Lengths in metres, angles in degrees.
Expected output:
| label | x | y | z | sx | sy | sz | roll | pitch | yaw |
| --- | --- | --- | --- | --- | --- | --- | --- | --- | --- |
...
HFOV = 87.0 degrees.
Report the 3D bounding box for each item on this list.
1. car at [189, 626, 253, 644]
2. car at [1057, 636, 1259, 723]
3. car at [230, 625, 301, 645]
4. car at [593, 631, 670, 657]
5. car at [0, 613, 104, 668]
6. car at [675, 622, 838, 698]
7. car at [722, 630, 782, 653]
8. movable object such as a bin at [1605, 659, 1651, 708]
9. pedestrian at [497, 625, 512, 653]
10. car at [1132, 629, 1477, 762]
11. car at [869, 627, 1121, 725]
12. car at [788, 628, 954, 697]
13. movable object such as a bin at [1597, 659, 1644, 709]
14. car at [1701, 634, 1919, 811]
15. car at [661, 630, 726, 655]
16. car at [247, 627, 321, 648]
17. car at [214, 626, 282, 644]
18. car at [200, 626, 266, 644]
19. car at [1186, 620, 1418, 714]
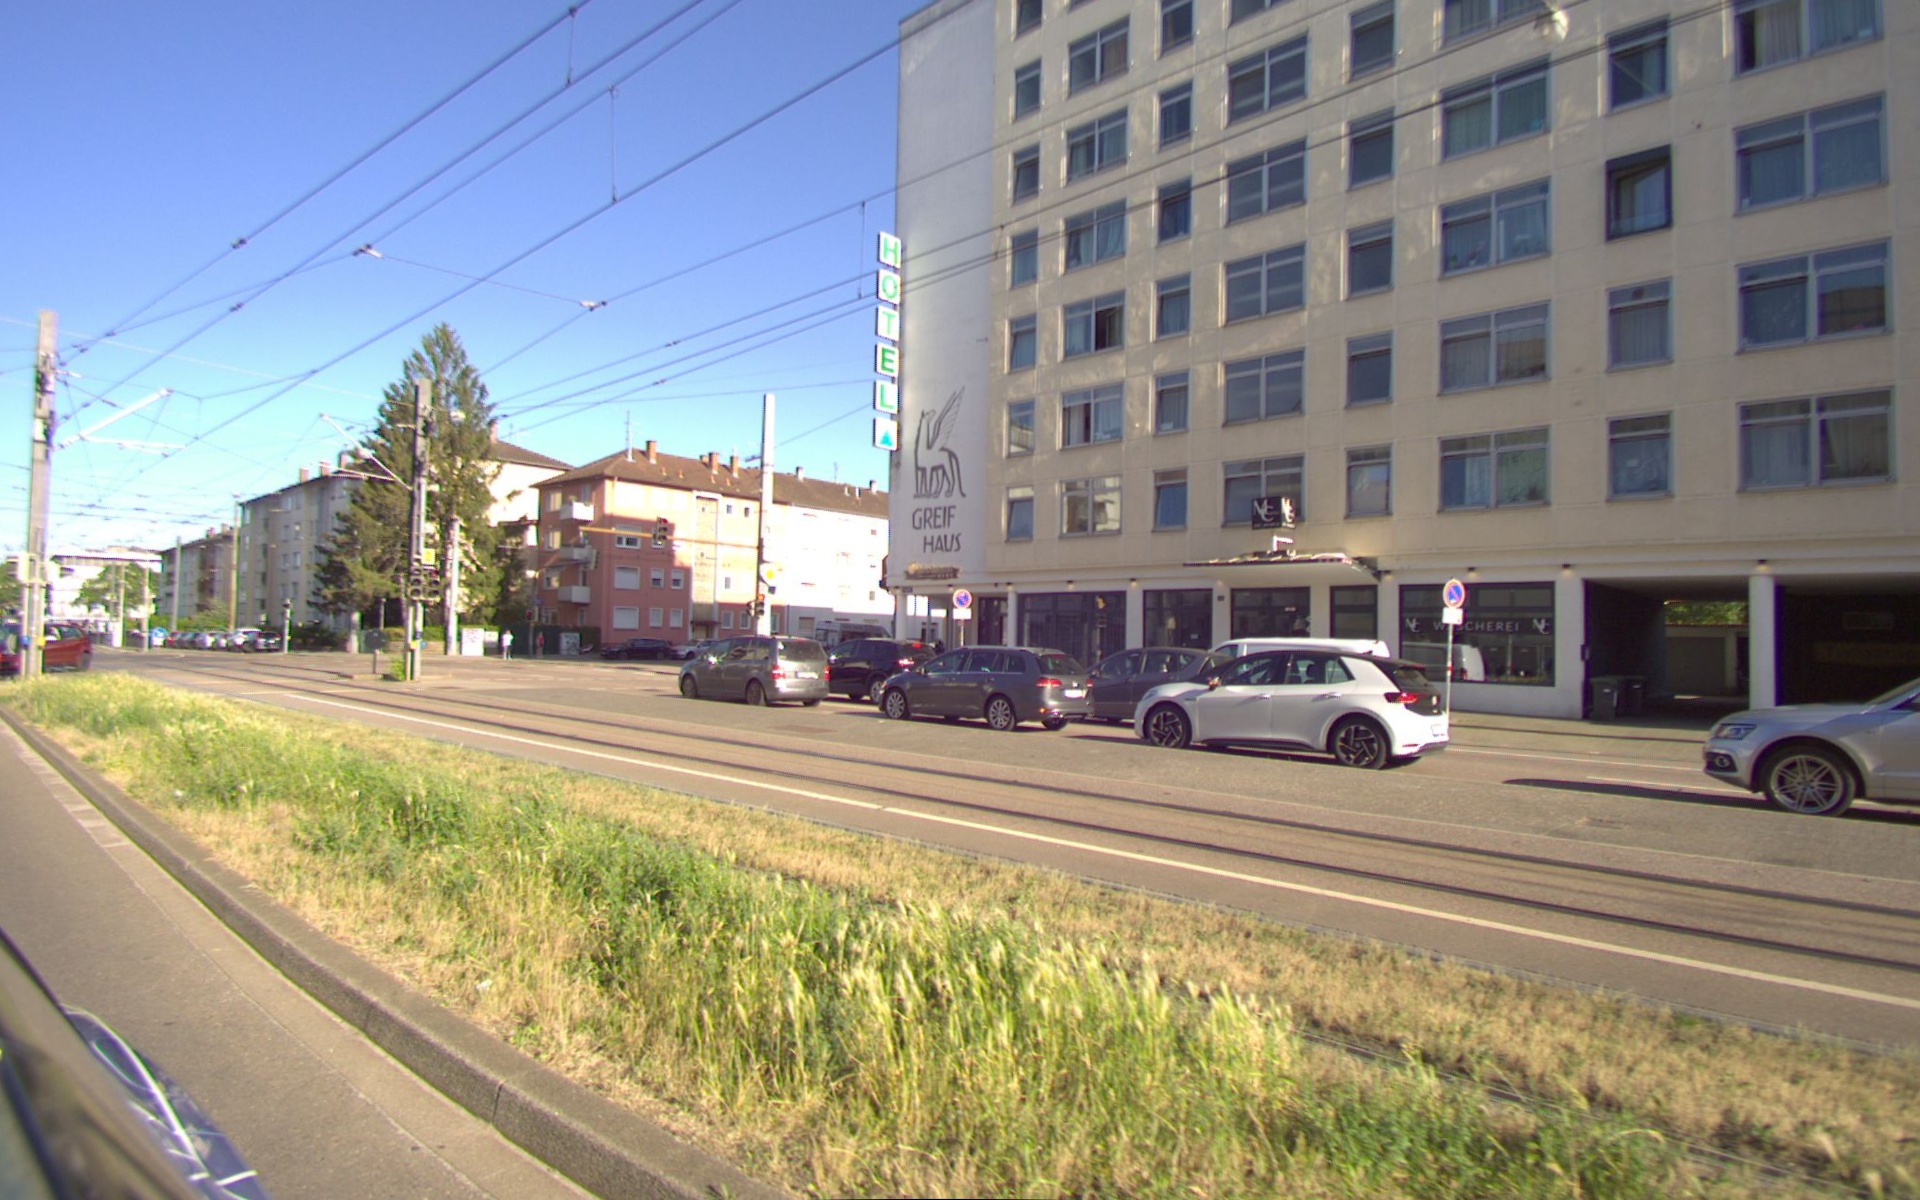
| label | x | y | z | sx | sy | sz | roll | pitch | yaw |
| --- | --- | --- | --- | --- | --- | --- | --- | --- | --- |
| car | -60.870 | 2.895 | 83.377 | 1.738 | 1.342 | 3.944 | -1 | -3 | 42 |
| car | 3.823 | 1.510 | 19.798 | 3.570 | 1.512 | 1.551 | -1 | -5 | 41 |
| car | -50.606 | 2.560 | 73.814 | 1.738 | 1.342 | 3.944 | -1 | -3 | 42 |
| car | -20.965 | 2.758 | 64.708 | 1.860 | 1.453 | 4.402 | -1 | 0 | 42 |
| car | -26.899 | 1.144 | 29.082 | 1.833 | 1.481 | 3.817 | 2 | -3 | -11 |
| car | -4.741 | 1.350 | 23.298 | 4.000 | 1.571 | 1.596 | -1 | -5 | 43 |
| car | -14.785 | 2.914 | 72.031 | 1.787 | 1.453 | 3.846 | -1 | 0 | 42 |
| movable object such as a bin | 15.141 | 1.887 | 22.947 | 0.775 | 1.059 | 0.538 | -1 | -4 | 45 |
| pedestrian | -26.385 | 2.257 | 58.656 | 0.510 | 1.618 | 0.607 | -1 | 0 | 41 |
| car | 4.762 | 1.262 | 14.307 | 4.238 | 1.562 | 1.837 | -1 | -5 | 41 |
| car | 0.563 | 1.351 | 18.717 | 4.364 | 1.562 | 1.973 | -1 | -5 | 41 |
| car | -2.304 | 1.538 | 25.621 | 3.998 | 1.571 | 1.973 | -1 | -3 | 41 |
| movable object such as a bin | 14.733 | 1.862 | 22.569 | 0.775 | 1.059 | 0.538 | -1 | -4 | 45 |
| car | 9.845 | 1.155 | 9.400 | 4.608 | 1.593 | 1.763 | -1 | -4 | 43 |
| car | -17.980 | 2.850 | 68.474 | 1.748 | 1.453 | 3.944 | -1 | 0 | 42 |
| car | -46.706 | 2.594 | 69.956 | 1.738 | 1.342 | 3.944 | -1 | -3 | 42 |
| car | -54.570 | 2.683 | 77.631 | 1.738 | 1.342 | 3.944 | -1 | -3 | 42 |
| car | -57.678 | 2.776 | 80.324 | 1.738 | 1.342 | 3.944 | -1 | -3 | 42 |
| car | 7.786 | 1.432 | 23.295 | 4.668 | 1.912 | 1.973 | -1 | 0 | 41 |
